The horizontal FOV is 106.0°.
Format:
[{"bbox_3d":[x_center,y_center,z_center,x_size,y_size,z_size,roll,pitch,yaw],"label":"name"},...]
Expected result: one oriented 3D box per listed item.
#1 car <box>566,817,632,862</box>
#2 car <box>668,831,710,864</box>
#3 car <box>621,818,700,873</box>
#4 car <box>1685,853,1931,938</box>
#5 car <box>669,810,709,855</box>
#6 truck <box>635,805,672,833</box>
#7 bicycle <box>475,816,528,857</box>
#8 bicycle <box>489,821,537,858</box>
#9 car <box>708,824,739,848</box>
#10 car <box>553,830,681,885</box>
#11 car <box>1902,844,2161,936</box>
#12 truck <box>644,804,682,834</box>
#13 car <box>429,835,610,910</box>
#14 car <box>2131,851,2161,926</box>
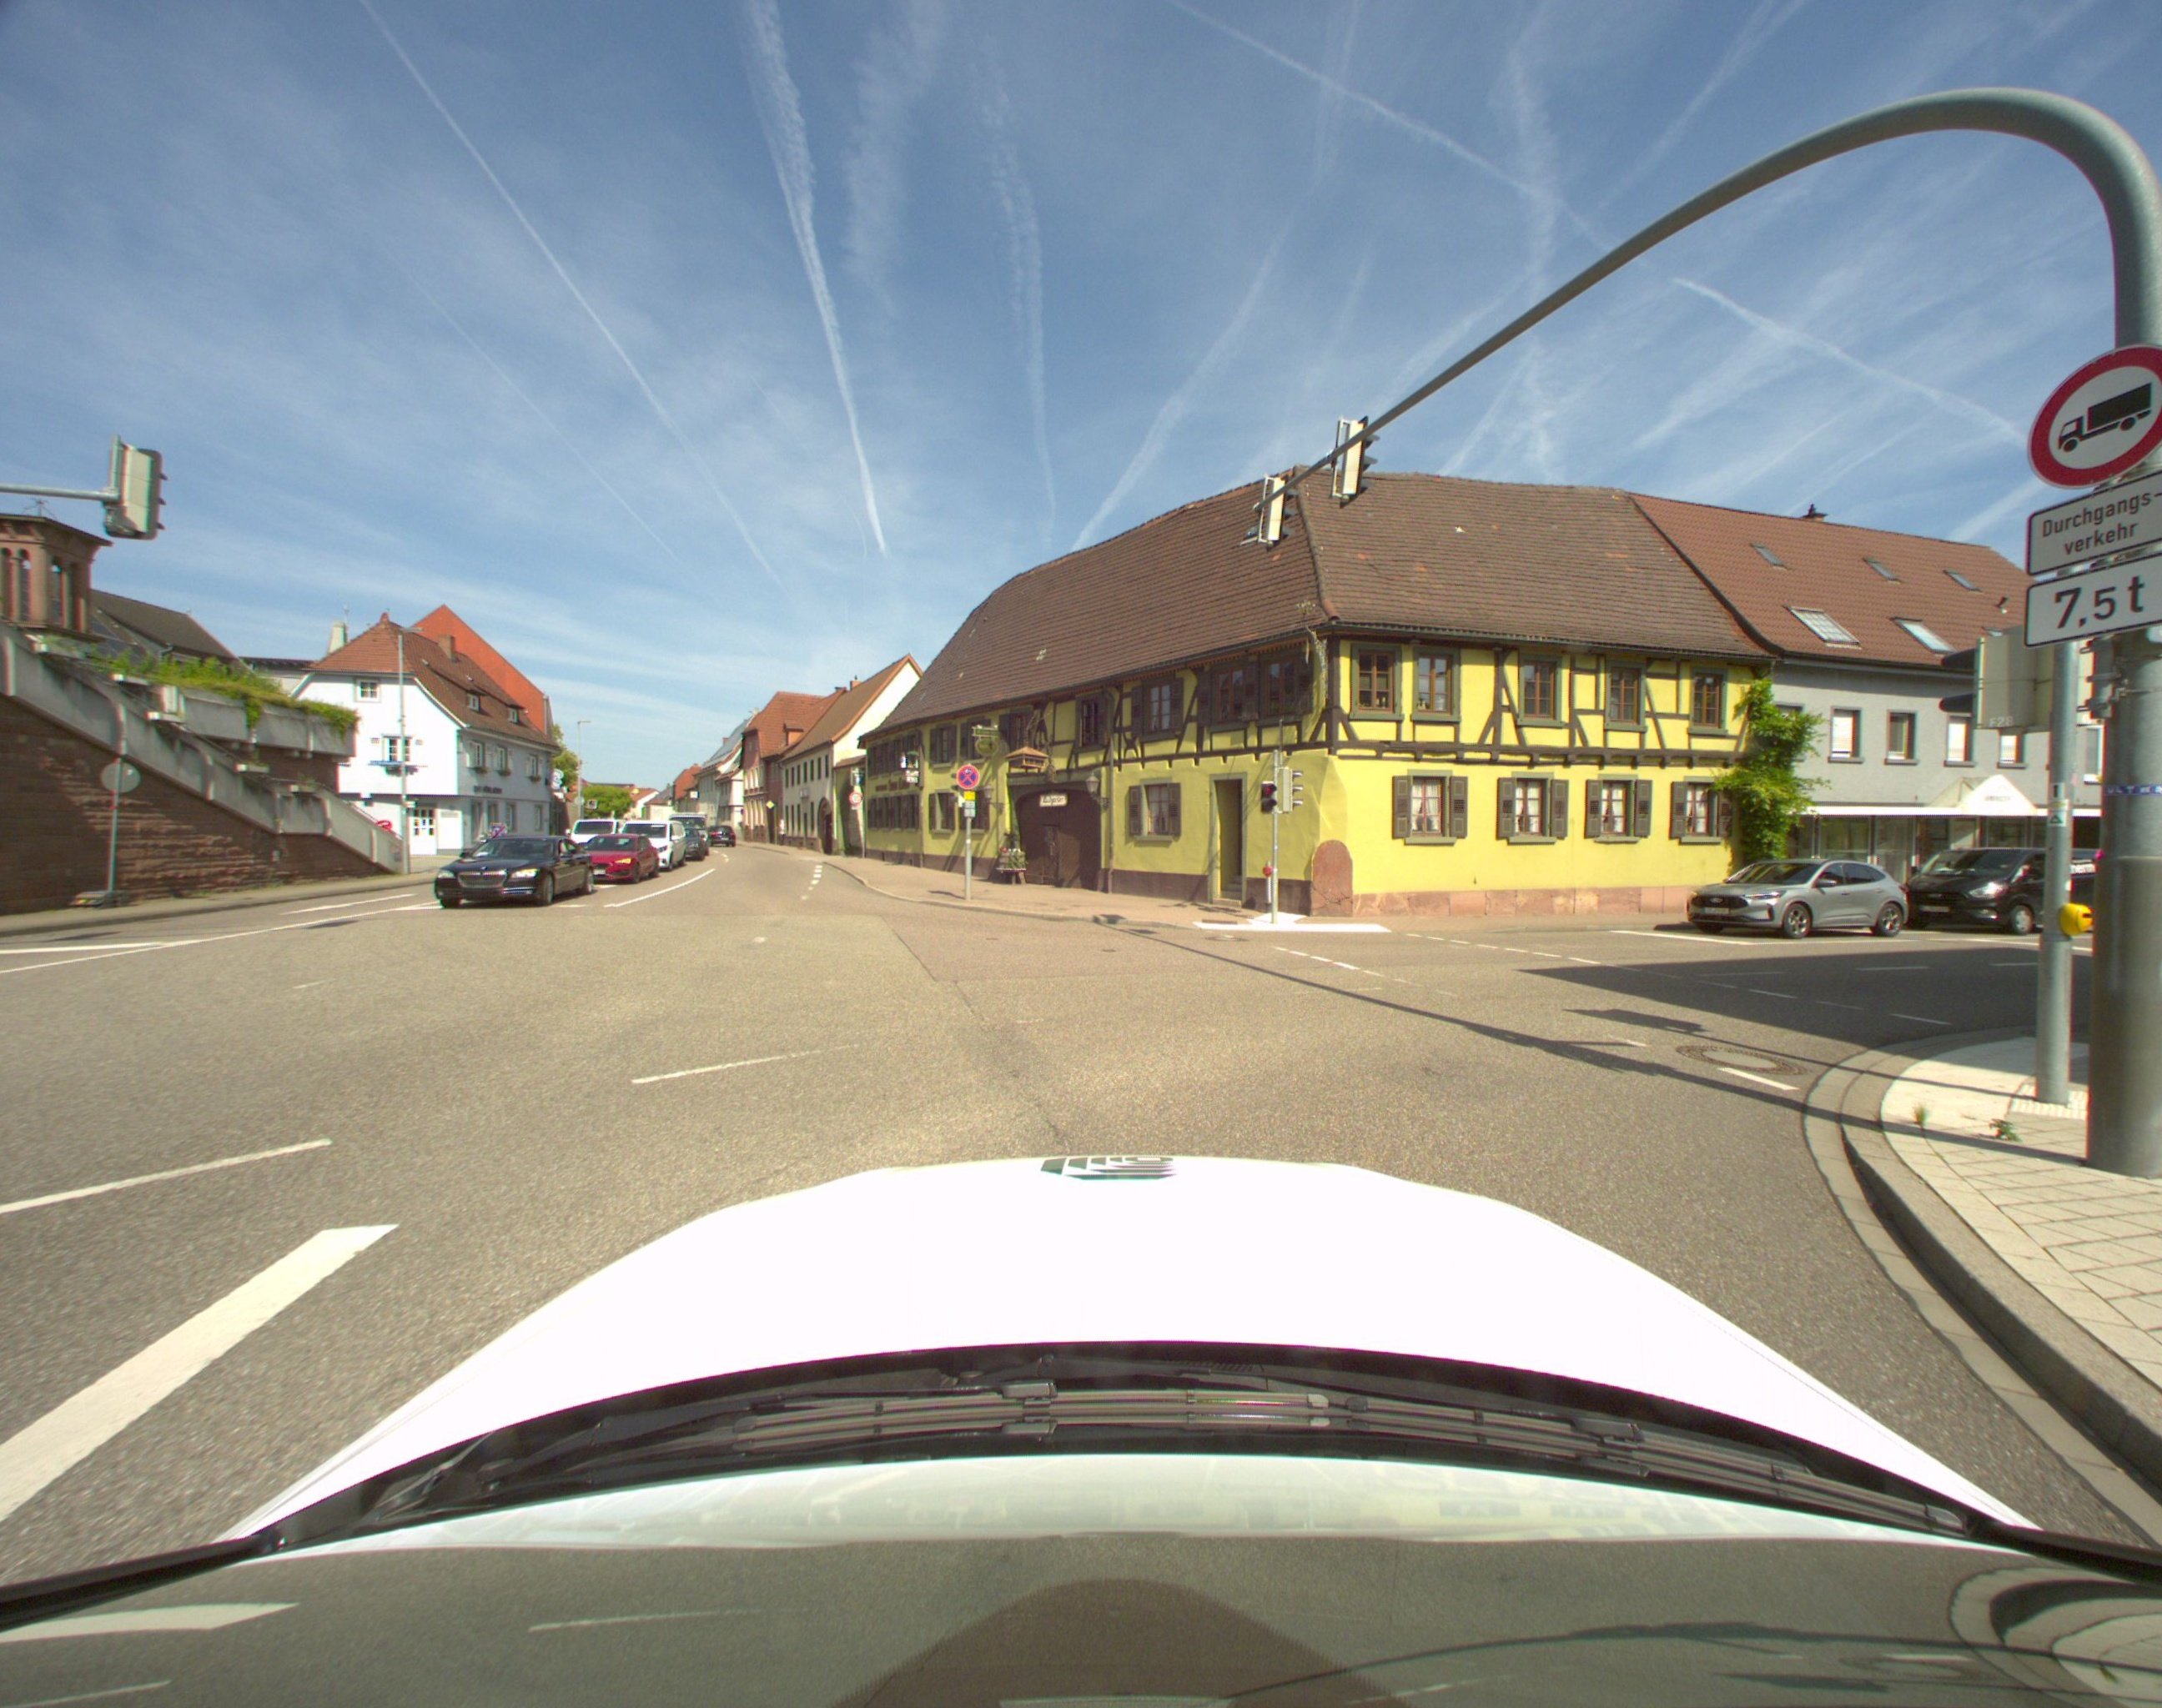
[{"bbox_3d":[-22.609,-0.684,38.378,2.147,1.966,5.235,-1,1,-25],"label":"car"},{"bbox_3d":[-18.203,-0.316,37.748,1.583,1.384,3.528,2,0,-27],"label":"car"},{"bbox_3d":[-15.798,-0.357,30.830,1.825,1.906,4.935,0,2,-17],"label":"car"},{"bbox_3d":[15.152,0.824,17.021,4.422,1.610,1.752,1,-1,-16],"label":"car"},{"bbox_3d":[-21.286,-1.170,44.110,1.767,2.246,4.513,2,0,-27],"label":"car"},{"bbox_3d":[-58.570,-4.737,111.462,3.182,3.460,10.600,3,0,-34],"label":"truck"},{"bbox_3d":[-26.498,-0.803,37.290,0.640,1.779,2.665,2,0,-5],"label":"bicycle"},{"bbox_3d":[-25.726,-0.656,36.958,0.557,1.607,2.558,2,0,-5],"label":"bicycle"},{"bbox_3d":[-27.341,-1.395,62.229,1.831,1.738,3.970,-1,2,-28],"label":"car"},{"bbox_3d":[-14.093,0.033,25.117,2.162,1.515,4.924,1,2,-14],"label":"car"},{"bbox_3d":[22.081,0.780,18.823,5.158,1.923,2.155,1,-1,-16],"label":"car"},{"bbox_3d":[-53.077,-4.373,103.286,3.246,3.549,9.135,2,0,-34],"label":"truck"},{"bbox_3d":[-12.117,0.318,17.949,1.822,1.434,4.230,0,1,-13],"label":"car"},{"bbox_3d":[29.601,0.893,20.715,4.542,1.891,1.881,1,0,-14],"label":"car"}]
